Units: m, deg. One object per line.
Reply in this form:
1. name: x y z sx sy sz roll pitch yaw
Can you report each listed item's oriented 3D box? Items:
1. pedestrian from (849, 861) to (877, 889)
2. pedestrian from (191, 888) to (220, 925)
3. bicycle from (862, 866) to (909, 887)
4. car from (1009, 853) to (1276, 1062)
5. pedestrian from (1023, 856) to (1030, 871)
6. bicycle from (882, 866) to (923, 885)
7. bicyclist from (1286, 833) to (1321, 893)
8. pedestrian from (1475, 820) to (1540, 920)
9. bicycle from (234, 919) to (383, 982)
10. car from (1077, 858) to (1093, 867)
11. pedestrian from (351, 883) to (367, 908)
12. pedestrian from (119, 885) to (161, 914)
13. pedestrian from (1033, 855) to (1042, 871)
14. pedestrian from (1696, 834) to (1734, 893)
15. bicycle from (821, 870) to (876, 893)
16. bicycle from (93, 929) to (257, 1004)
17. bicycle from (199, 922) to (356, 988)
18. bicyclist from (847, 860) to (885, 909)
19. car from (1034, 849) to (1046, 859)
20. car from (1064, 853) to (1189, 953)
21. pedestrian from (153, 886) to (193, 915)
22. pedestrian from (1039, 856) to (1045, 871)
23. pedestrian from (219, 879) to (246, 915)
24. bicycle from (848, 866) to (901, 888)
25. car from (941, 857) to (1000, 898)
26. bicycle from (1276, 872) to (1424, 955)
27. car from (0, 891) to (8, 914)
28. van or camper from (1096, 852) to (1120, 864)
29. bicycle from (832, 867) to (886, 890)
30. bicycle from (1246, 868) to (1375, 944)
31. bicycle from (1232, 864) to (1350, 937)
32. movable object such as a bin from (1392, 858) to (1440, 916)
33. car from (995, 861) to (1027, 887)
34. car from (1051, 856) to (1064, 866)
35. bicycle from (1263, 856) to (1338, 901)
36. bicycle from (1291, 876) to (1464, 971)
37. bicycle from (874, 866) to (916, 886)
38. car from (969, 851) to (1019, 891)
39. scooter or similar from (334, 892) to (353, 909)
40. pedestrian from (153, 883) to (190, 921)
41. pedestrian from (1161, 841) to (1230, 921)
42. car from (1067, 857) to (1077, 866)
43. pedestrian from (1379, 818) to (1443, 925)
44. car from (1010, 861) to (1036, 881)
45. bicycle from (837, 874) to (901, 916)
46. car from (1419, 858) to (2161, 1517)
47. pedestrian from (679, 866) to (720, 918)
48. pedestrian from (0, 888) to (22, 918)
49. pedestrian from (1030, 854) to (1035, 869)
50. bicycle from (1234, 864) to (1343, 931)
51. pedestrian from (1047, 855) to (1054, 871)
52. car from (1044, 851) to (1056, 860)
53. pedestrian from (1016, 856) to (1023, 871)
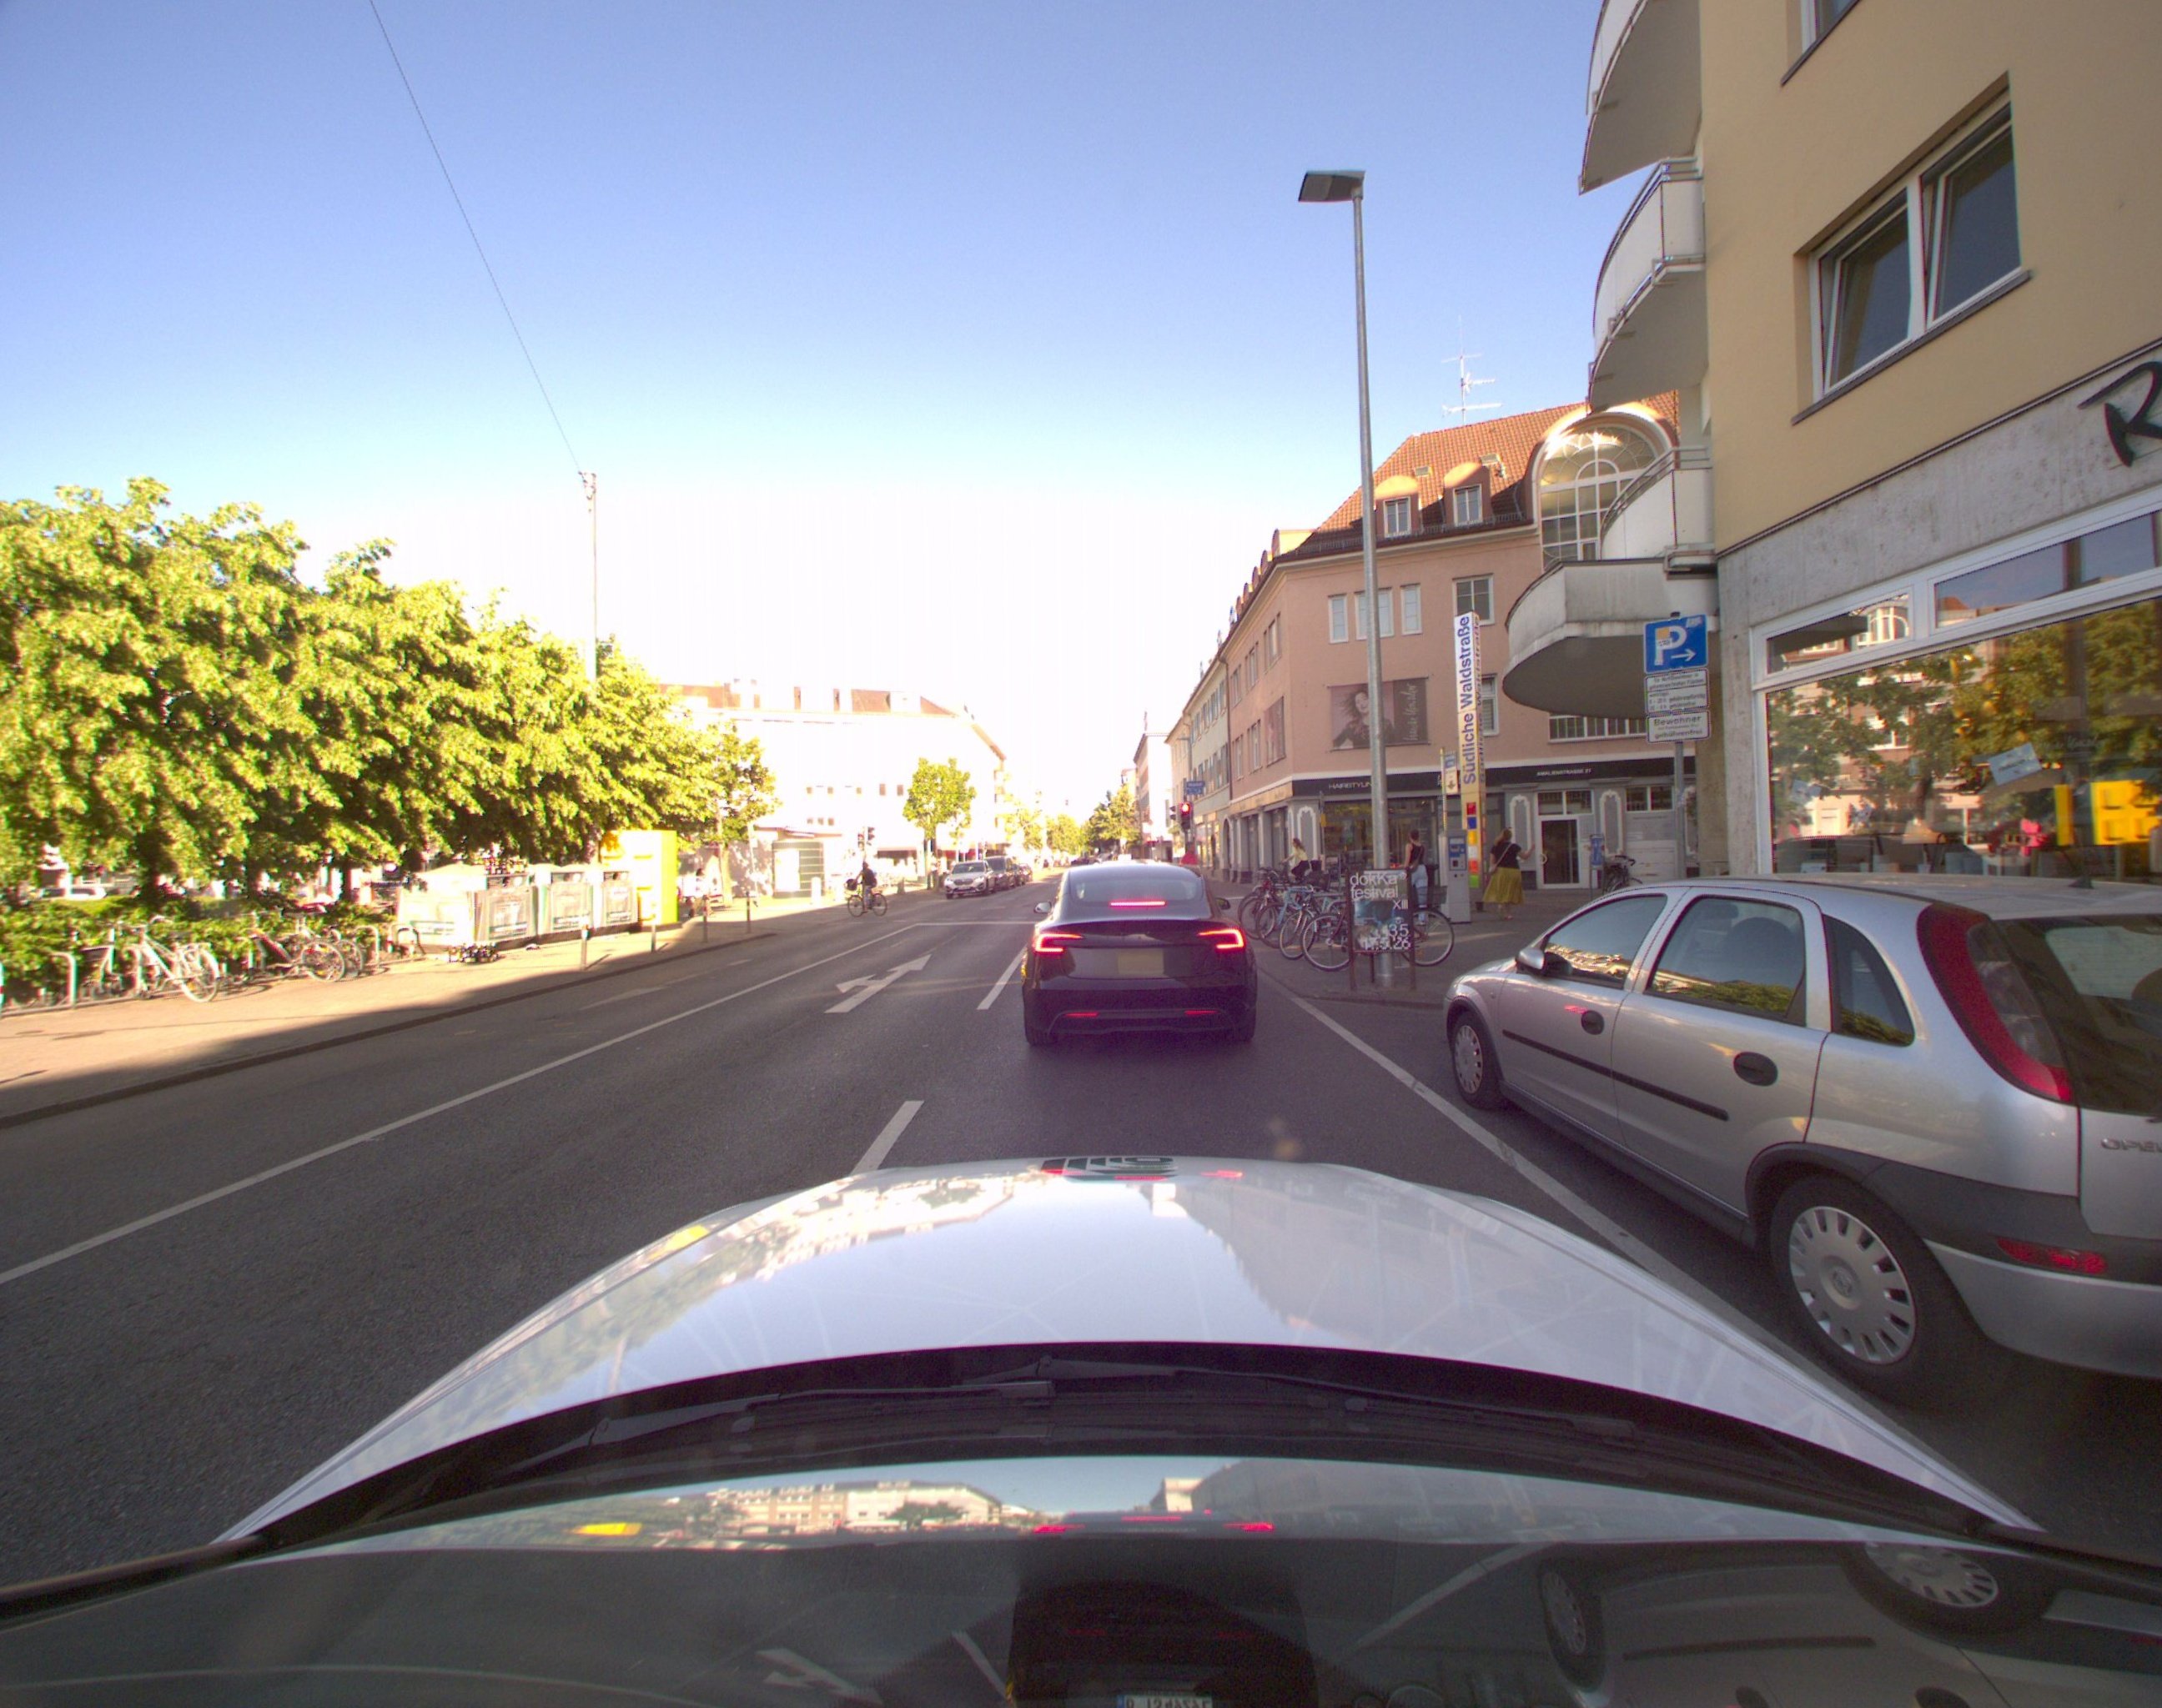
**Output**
1. pedestrian: -12.577 1.195 47.042 1.085 1.611 1.270 -1 -1 12
2. pedestrian: -36.935 2.205 34.373 0.782 1.520 0.828 0 -1 -43
3. bicycle: -12.055 1.386 50.313 2.655 1.259 0.942 0 -1 -1
4. car: 0.497 0.737 7.895 1.843 1.447 4.453 0 0 2
5. pedestrian: -6.497 1.130 97.616 0.734 1.868 0.787 0 -1 -15
6. bicycle: -12.054 1.419 55.016 2.535 1.251 0.942 0 -1 -1
7. bicyclist: 6.234 0.245 22.853 0.819 1.614 0.582 -3 0 18
8. pedestrian: 7.868 0.293 15.052 0.717 1.754 0.789 -4 -1 7
9. bicycle: -11.460 1.424 12.114 1.663 0.859 0.469 0 -1 -5
10. car: 0.724 1.641 159.317 2.039 1.788 3.985 -1 0 -16
11. pedestrian: -44.089 2.536 49.722 0.629 1.524 0.573 0 -1 -34
12. pedestrian: -40.425 1.955 34.987 0.926 1.214 0.873 -1 -1 17
13. pedestrian: -5.081 1.098 94.876 0.726 1.868 0.796 -1 -1 30
14. pedestrian: 17.005 0.245 21.861 0.714 1.549 0.797 -1 -1 32
15. bicycle: -12.326 1.437 43.257 2.652 1.195 0.942 0 -1 -1
16. bicycle: -11.460 1.416 10.318 1.560 0.886 0.470 0 -1 1
17. bicycle: -11.425 1.422 11.615 1.667 0.859 0.469 0 -1 -5
18. bicyclist: -6.709 0.947 25.419 0.946 1.484 0.612 -1 -1 26
19. car: -9.025 -0.015 180.150 2.266 2.014 4.720 0 -1 3
20. car: 0.743 0.748 14.319 1.843 1.482 4.453 0 0 2
21. pedestrian: -40.397 2.053 36.233 0.857 1.214 0.904 -1 -1 17
22. pedestrian: -4.762 1.133 99.553 0.695 1.868 0.906 0 -1 -12
23. pedestrian: -36.424 1.827 34.977 0.553 1.508 0.611 -1 -1 17
24. bicycle: -12.156 1.362 47.996 2.867 1.270 0.942 0 -1 -1
25. car: -4.884 1.014 36.610 1.818 1.565 4.302 -5 -1 2
26. bicycle: 3.657 0.796 11.168 1.806 1.060 0.653 -1 0 3
27. car: -74.804 3.297 54.219 4.118 1.530 1.547 -1 0 -8
28. van or camper: 5.629 0.850 167.673 4.832 2.438 1.851 -1 0 1
29. bicycle: -12.394 1.369 45.600 2.772 1.274 0.933 0 -1 -2
30. bicycle: 3.519 0.789 12.580 1.806 1.102 0.653 -1 0 3
31. bicycle: 3.497 0.774 13.655 1.806 1.152 0.653 -1 0 3
32. movable object such as a bin: 6.746 0.658 16.435 0.633 1.103 0.728 -4 -1 5
33. car: -4.258 1.204 50.059 1.455 1.430 3.607 -5 -1 2
34. car: -4.863 1.320 166.821 2.405 1.970 4.679 -1 0 2
35. bicycle: 6.168 0.686 22.871 1.938 1.158 0.578 -4 -1 18
36. bicycle: 3.637 0.844 10.095 1.875 1.044 0.653 -2 0 2
37. bicycle: -12.000 1.399 52.589 2.535 1.251 0.942 0 -1 -1
38. car: -4.496 0.834 42.933 1.938 1.947 4.822 -1 0 2
39. scooter or similar: -44.686 2.829 49.330 0.793 0.957 0.459 0 -1 -34
40. pedestrian: -37.890 2.000 33.942 0.928 1.520 0.924 0 -1 -43
41. pedestrian: 2.561 0.580 18.183 1.099 1.719 1.068 -1 -1 44
42. car: -2.003 1.775 187.441 2.124 1.970 4.135 -1 0 2
43. pedestrian: 5.980 0.315 14.816 0.678 1.849 0.894 -5 -1 3
44. car: -4.119 1.191 58.461 1.689 1.390 3.913 0 0 -1
45. bicycle: -6.622 1.276 25.362 1.975 1.223 0.633 -3 -3 27
46. car: 2.962 0.737 3.559 1.578 1.426 3.581 0 -1 2
47. pedestrian: -11.561 1.127 24.721 0.919 1.543 0.694 0 -1 -4
48. pedestrian: -66.703 3.033 50.273 1.305 1.842 1.091 0 -1 -31
49. pedestrian: -6.218 0.976 104.237 0.693 1.868 0.658 0 -1 -3
50. bicycle: 3.738 0.782 14.784 1.806 1.152 0.653 -1 0 3
51. pedestrian: -3.624 1.106 97.220 0.773 1.868 1.007 0 -1 -5
52. car: -7.169 0.288 188.745 2.266 2.014 4.720 0 -1 3
53. pedestrian: -7.346 1.133 97.222 0.734 1.868 0.787 0 -1 -15
